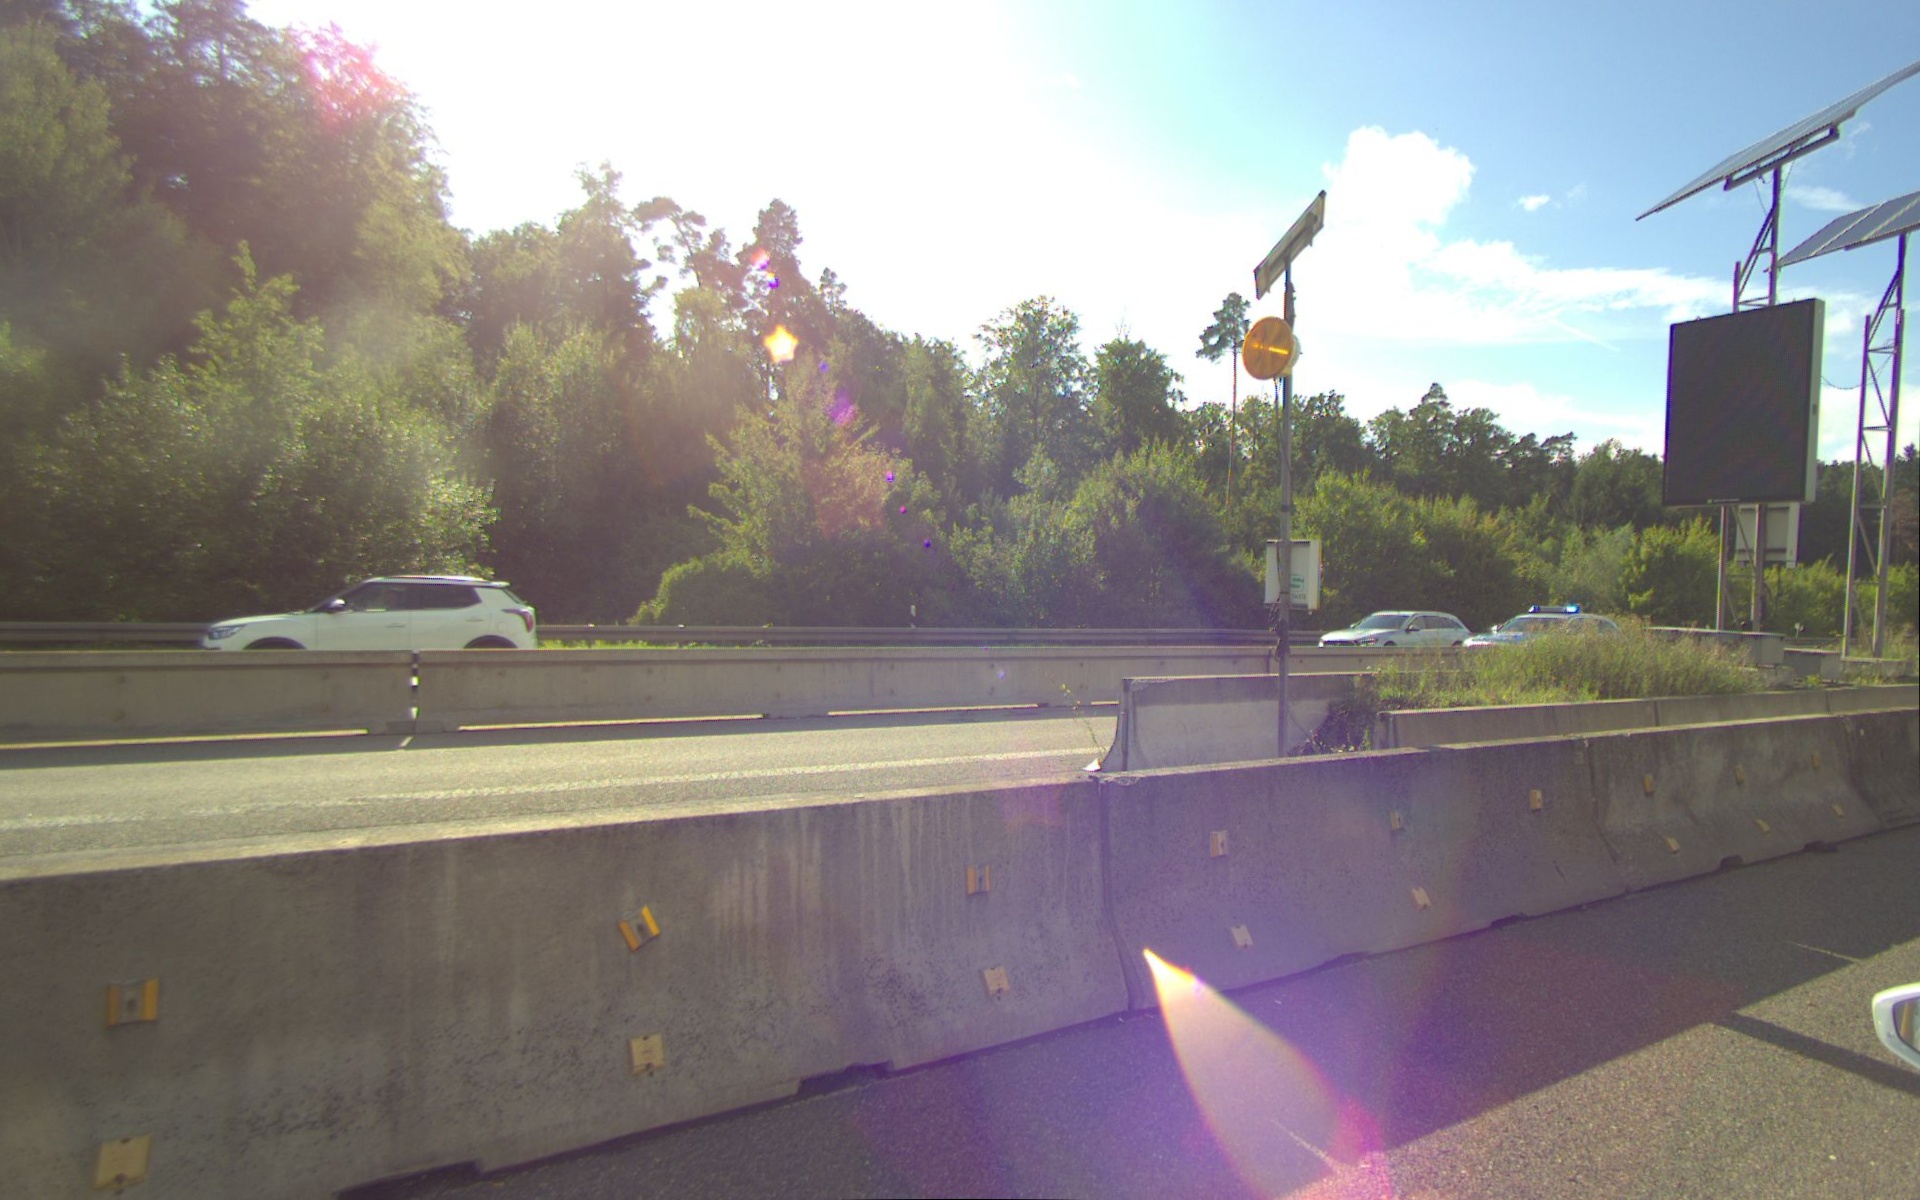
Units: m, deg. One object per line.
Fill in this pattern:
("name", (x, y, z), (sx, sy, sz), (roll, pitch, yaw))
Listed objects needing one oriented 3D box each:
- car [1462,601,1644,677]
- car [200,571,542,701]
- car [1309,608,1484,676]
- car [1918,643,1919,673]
("car", (14.091, 0.910, 23.806), (4.624, 1.624, 1.768), (2, 0, -32))
("car", (-8.223, 0.493, 14.374), (3.969, 1.624, 1.770), (2, 0, -29))
("car", (11.491, 1.090, 26.366), (4.619, 1.624, 1.770), (2, 0, -29))
("car", (53.909, 3.180, 54.467), (4.624, 1.624, 1.768), (2, 0, -32))
